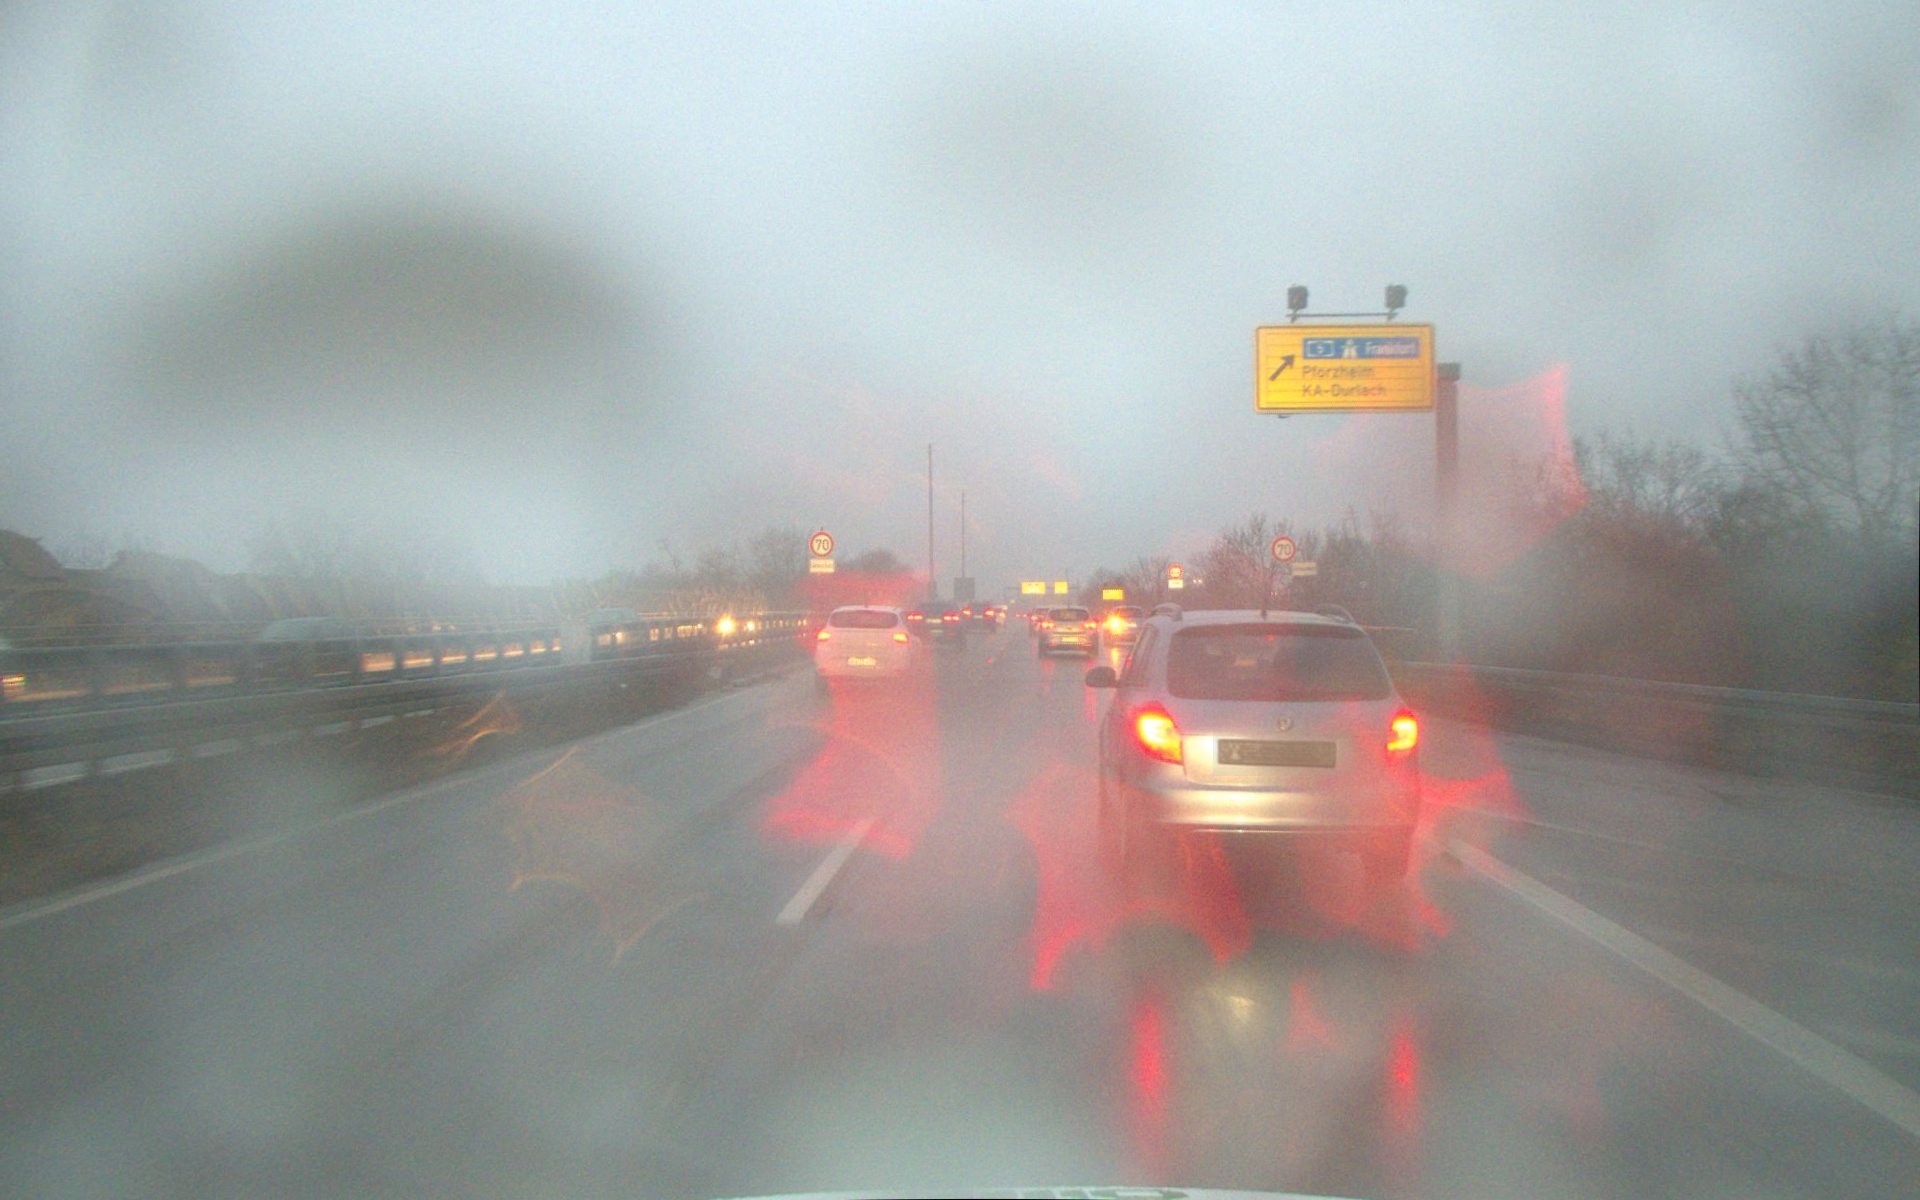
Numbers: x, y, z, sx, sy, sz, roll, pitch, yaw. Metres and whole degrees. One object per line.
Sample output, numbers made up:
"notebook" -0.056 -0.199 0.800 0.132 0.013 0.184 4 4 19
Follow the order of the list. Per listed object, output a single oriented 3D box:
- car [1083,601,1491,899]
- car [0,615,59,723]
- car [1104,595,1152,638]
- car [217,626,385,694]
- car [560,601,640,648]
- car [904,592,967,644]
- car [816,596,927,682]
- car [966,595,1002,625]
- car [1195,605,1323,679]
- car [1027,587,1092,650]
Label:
"car" 1.842 0.788 10.629 1.952 1.527 4.139 -1 0 2
"car" -15.464 1.031 23.736 1.800 1.589 4.686 0 0 12
"car" 6.469 0.626 63.702 1.751 1.572 4.003 -1 0 5
"car" -15.511 1.376 39.193 1.748 1.428 4.313 0 0 9
"car" -12.763 0.847 58.900 1.749 1.592 4.851 0 0 0
"car" -0.794 0.575 54.648 1.953 1.629 4.308 1 0 -1
"car" -1.567 0.663 30.598 1.688 1.465 4.227 1 0 2
"car" 1.342 0.523 90.098 1.752 1.572 4.002 0 0 3
"car" 5.942 0.801 33.308 1.952 1.369 4.001 0 0 1
"car" 2.959 0.527 49.883 1.858 1.798 4.310 0 0 2
